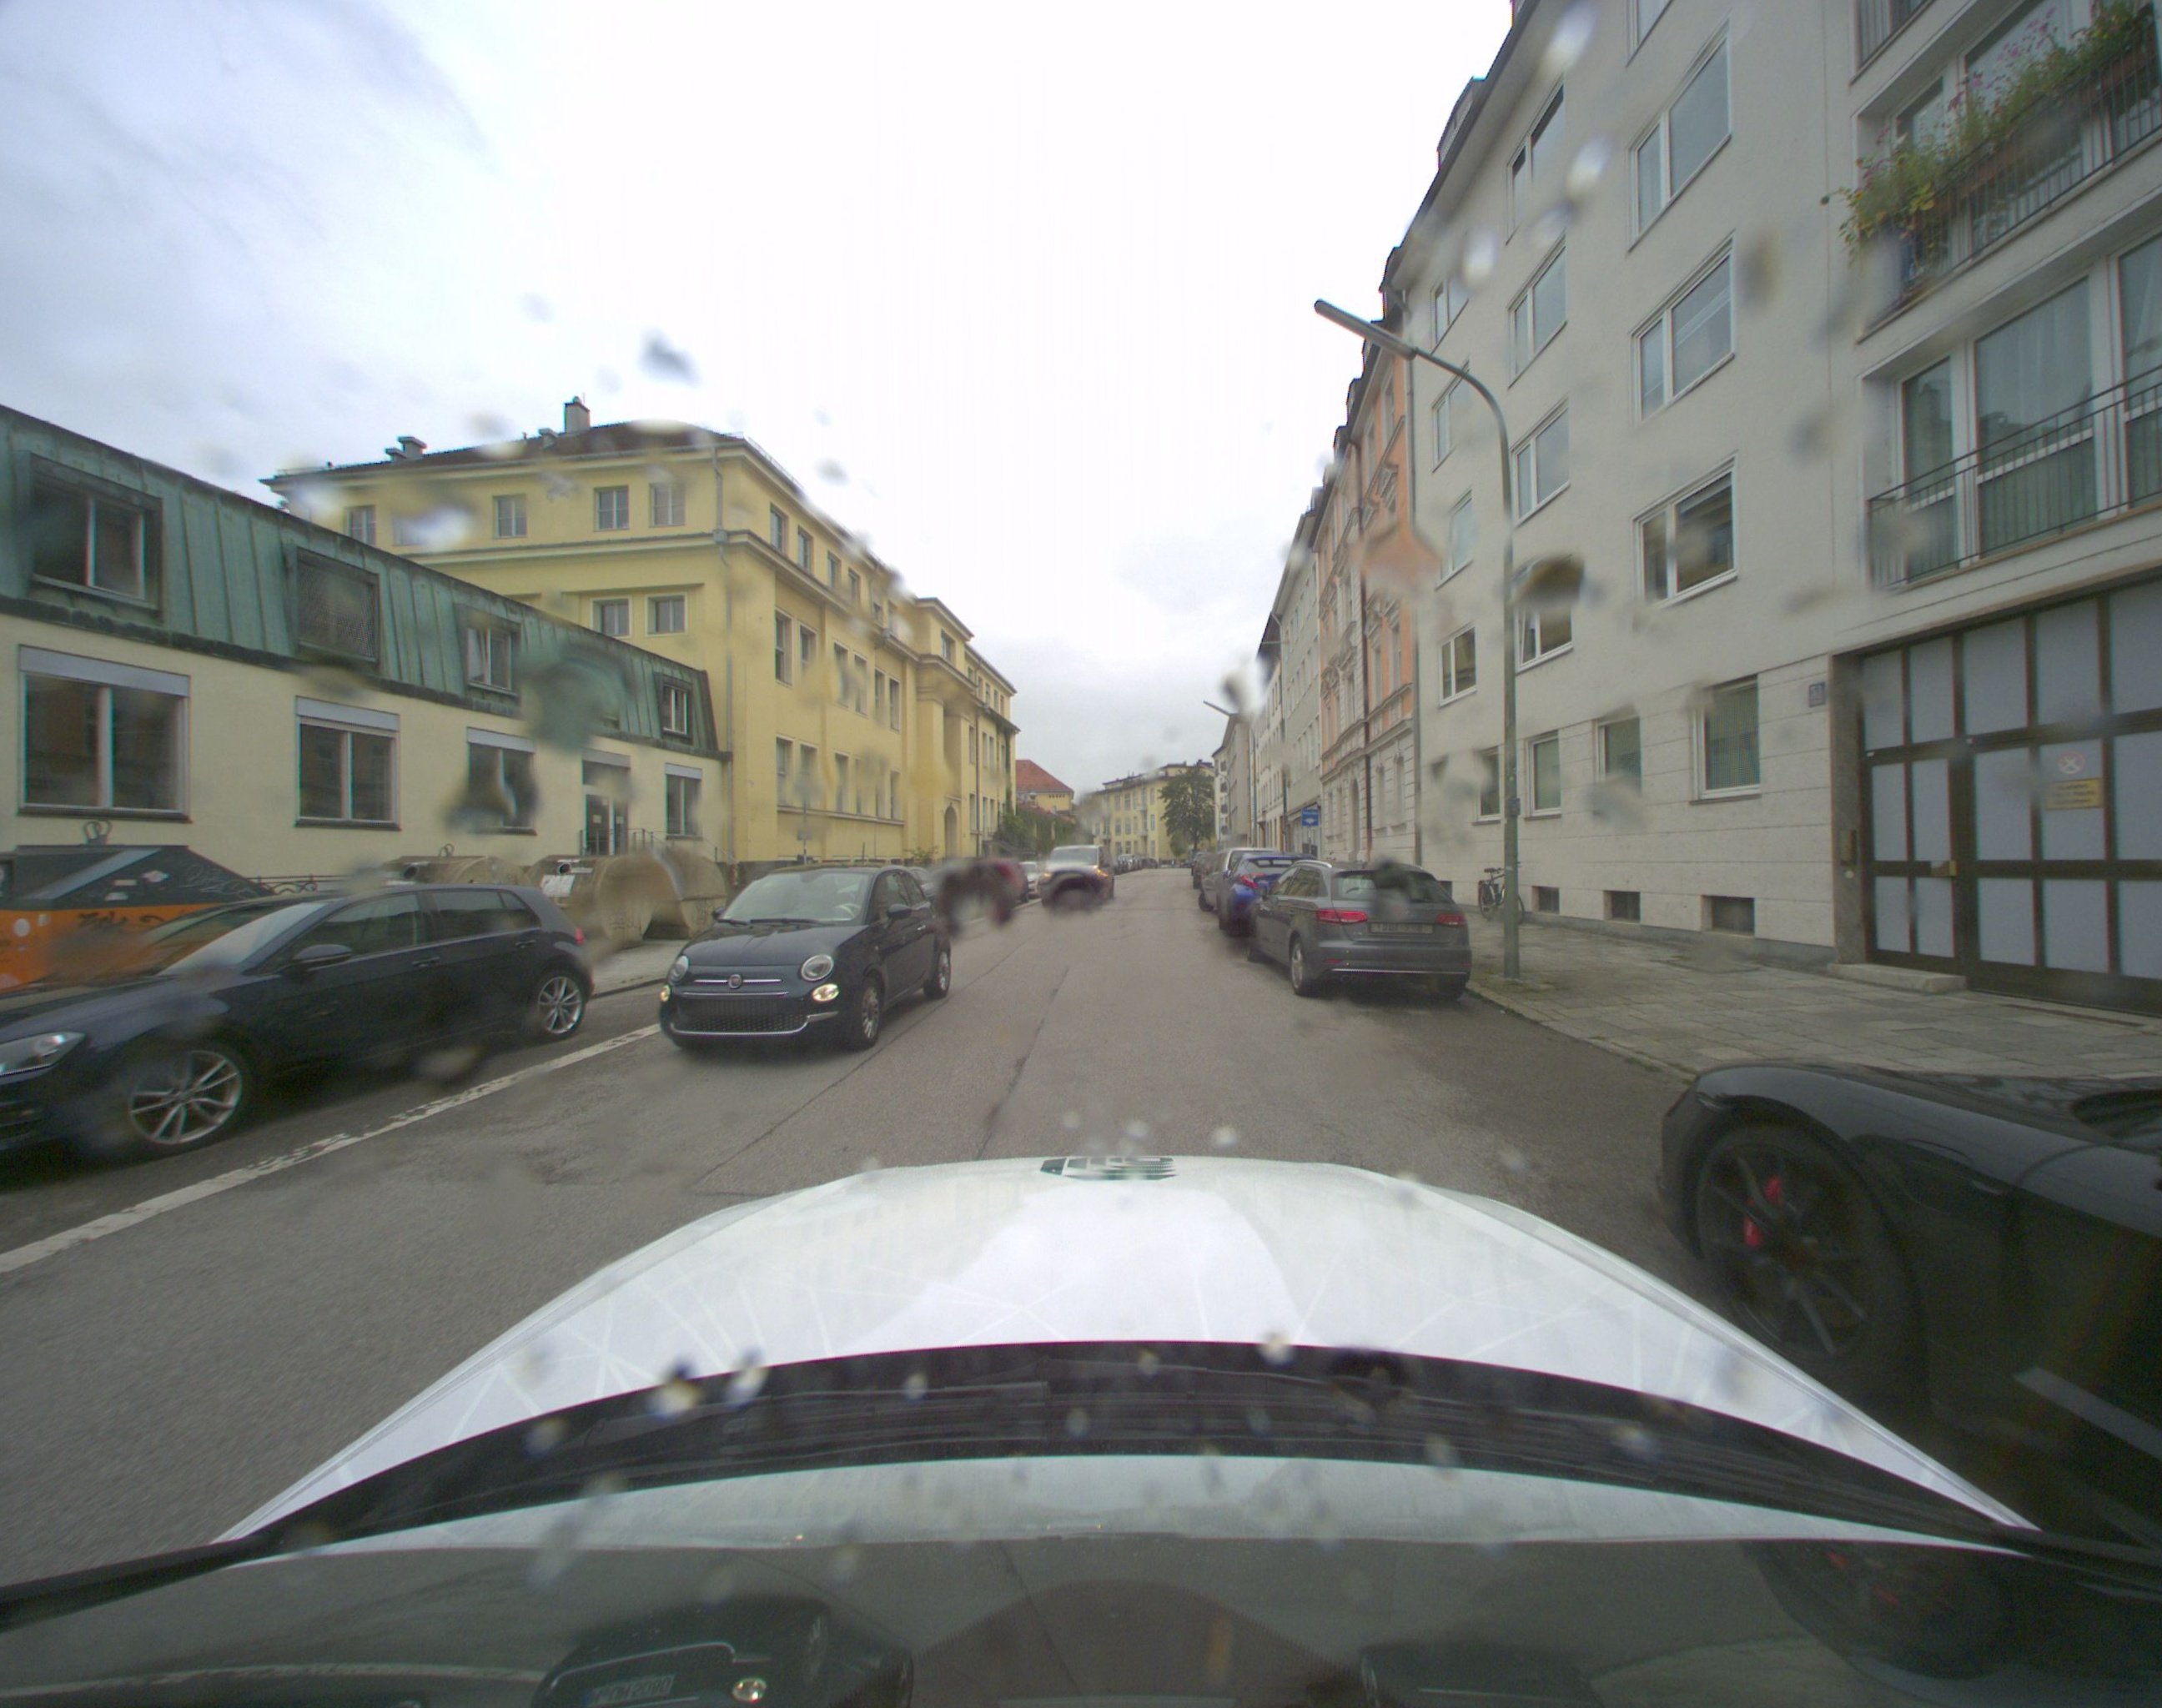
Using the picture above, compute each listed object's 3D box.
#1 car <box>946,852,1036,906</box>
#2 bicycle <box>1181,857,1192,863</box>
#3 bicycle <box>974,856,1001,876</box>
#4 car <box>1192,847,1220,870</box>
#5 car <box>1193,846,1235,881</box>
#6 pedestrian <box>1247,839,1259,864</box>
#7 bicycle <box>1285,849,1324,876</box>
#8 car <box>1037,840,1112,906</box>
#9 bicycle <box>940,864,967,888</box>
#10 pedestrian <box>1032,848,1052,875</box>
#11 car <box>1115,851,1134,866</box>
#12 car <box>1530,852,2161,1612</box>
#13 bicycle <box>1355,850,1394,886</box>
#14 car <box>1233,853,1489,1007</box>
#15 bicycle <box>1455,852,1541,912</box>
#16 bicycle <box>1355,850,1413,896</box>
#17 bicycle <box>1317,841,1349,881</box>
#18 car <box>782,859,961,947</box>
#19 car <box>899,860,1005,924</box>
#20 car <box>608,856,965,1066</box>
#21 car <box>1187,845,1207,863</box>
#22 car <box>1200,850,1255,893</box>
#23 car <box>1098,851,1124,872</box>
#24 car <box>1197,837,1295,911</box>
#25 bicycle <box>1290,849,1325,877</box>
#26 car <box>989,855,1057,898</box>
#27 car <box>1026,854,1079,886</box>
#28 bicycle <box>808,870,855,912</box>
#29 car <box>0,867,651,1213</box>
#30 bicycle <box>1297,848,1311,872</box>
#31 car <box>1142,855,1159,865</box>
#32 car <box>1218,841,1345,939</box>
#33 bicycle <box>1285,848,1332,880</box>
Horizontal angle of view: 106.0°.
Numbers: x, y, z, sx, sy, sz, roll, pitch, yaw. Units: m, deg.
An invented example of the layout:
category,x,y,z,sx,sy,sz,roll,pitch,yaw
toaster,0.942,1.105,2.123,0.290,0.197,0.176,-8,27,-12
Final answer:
category,x,y,z,sx,sy,sz,roll,pitch,yaw
car,-2.796,0.762,26.420,1.948,1.482,4.535,-4,-1,5
bicycle,19.475,1.089,150.003,1.905,1.201,0.598,-1,-1,21
bicycle,-6.192,0.807,53.983,1.616,1.268,0.528,-2,0,8
car,8.596,0.307,55.922,1.829,1.522,4.721,0,0,9
car,5.838,0.405,35.889,1.678,1.402,4.374,-1,0,9
pedestrian,12.216,-0.167,57.790,0.719,1.763,0.906,-1,-3,8
bicycle,9.530,0.372,34.753,1.855,1.067,0.510,-2,0,-35
car,-0.092,0.569,26.568,1.907,1.848,5.327,-3,0,4
bicycle,-5.963,1.034,38.059,0.533,1.062,1.647,-1,0,17
pedestrian,-2.625,0.493,54.893,0.893,1.719,1.065,-3,0,23
car,4.479,0.475,83.469,1.583,1.441,4.025,-4,-1,6
car,3.004,0.709,1.165,1.948,1.414,5.113,-1,0,1
bicycle,8.736,0.402,24.330,0.593,1.024,1.819,-2,0,4
car,3.128,0.731,10.097,1.699,1.454,4.402,1,0,1
bicycle,7.956,0.501,15.628,0.528,1.072,1.998,-2,0,-2
bicycle,7.823,0.458,21.096,0.720,1.112,1.994,-2,0,0
bicycle,9.263,0.245,30.006,0.593,1.385,2.094,-2,0,4
car,-4.076,0.896,16.785,2.004,1.418,4.622,-4,-1,5
car,-3.321,0.940,21.780,1.742,1.405,4.359,-4,-1,4
car,-2.380,0.779,7.644,1.652,1.474,3.714,-1,0,6
car,16.222,0.088,113.769,2.071,2.234,5.245,3,-2,1
car,5.477,0.619,30.845,1.679,1.500,4.152,0,0,5
car,2.526,0.622,68.376,1.780,1.586,4.826,-4,-1,6
car,3.969,0.450,20.166,1.676,1.673,3.803,0,0,0
bicycle,9.514,0.354,34.153,0.614,1.089,1.825,-2,0,42
car,-2.193,0.832,32.089,1.785,1.429,4.672,-5,-1,6
car,-1.305,0.730,39.633,1.775,1.431,4.662,-1,0,8
bicycle,-7.737,1.122,25.355,0.532,1.185,2.111,-2,0,7
car,-5.648,0.962,6.077,1.903,1.482,4.542,-4,0,8
bicycle,11.415,0.302,41.742,0.382,1.158,1.953,-2,0,7
car,12.888,1.133,151.052,1.765,1.874,4.357,3,-1,-14
car,3.477,0.558,14.887,1.733,1.494,4.557,-1,0,7
bicycle,8.919,0.385,31.916,2.101,1.139,0.578,-2,0,-37
